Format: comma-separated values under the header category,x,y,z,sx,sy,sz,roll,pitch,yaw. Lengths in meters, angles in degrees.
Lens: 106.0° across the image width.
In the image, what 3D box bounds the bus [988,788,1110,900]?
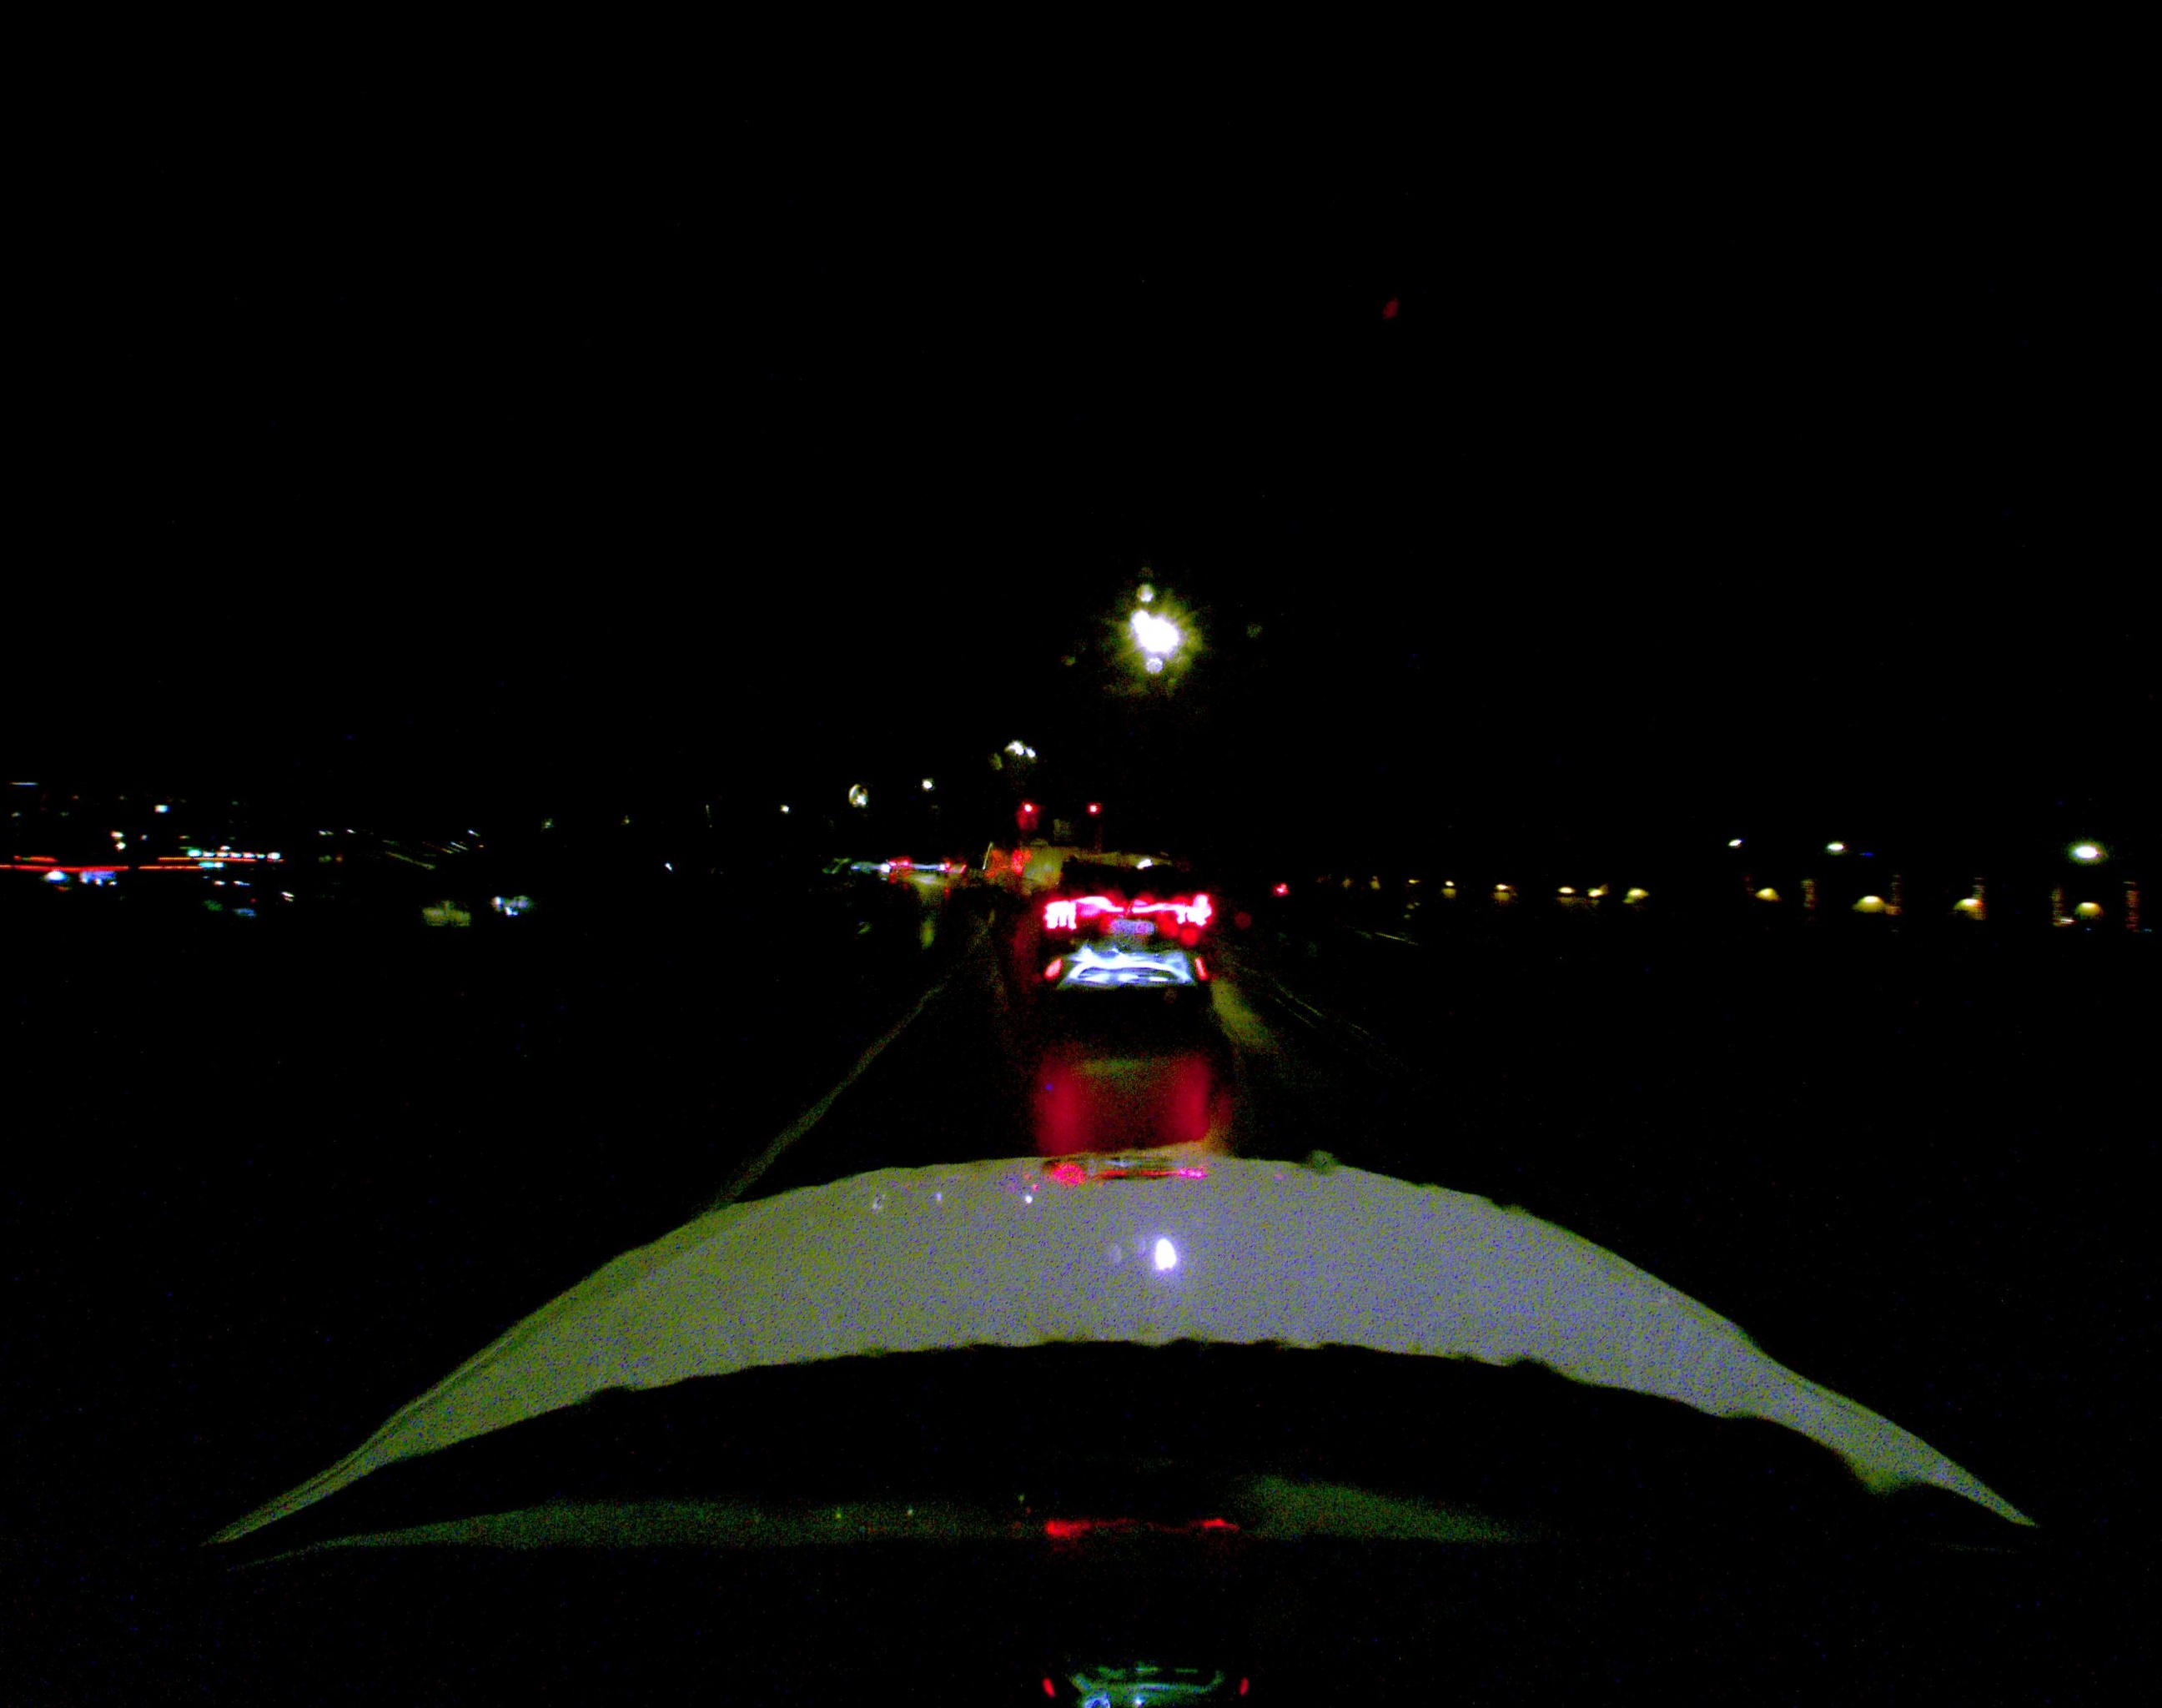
category,x,y,z,sx,sy,sz,roll,pitch,yaw
bus,-1.607,-0.299,29.427,3.082,3.132,12.660,-1,0,-8

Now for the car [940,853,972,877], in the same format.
category,x,y,z,sx,sy,sz,roll,pitch,yaw
car,-9.135,0.826,59.340,1.641,1.656,3.685,-1,-2,-19

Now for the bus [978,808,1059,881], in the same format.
category,x,y,z,sx,sy,sz,roll,pitch,yaw
bus,-3.213,-0.386,39.540,3.050,3.132,8.048,1,0,-11

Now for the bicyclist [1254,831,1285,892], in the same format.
category,x,y,z,sx,sy,sz,roll,pitch,yaw
bicyclist,4.257,0.164,18.394,0.452,1.349,0.763,0,0,-7

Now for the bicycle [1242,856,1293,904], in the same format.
category,x,y,z,sx,sy,sz,roll,pitch,yaw
bicycle,4.242,0.565,18.690,0.483,1.034,2.167,0,-1,-6

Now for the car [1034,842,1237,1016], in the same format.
category,x,y,z,sx,sy,sz,roll,pitch,yaw
car,0.559,0.704,9.471,1.849,1.586,4.001,0,-1,2
